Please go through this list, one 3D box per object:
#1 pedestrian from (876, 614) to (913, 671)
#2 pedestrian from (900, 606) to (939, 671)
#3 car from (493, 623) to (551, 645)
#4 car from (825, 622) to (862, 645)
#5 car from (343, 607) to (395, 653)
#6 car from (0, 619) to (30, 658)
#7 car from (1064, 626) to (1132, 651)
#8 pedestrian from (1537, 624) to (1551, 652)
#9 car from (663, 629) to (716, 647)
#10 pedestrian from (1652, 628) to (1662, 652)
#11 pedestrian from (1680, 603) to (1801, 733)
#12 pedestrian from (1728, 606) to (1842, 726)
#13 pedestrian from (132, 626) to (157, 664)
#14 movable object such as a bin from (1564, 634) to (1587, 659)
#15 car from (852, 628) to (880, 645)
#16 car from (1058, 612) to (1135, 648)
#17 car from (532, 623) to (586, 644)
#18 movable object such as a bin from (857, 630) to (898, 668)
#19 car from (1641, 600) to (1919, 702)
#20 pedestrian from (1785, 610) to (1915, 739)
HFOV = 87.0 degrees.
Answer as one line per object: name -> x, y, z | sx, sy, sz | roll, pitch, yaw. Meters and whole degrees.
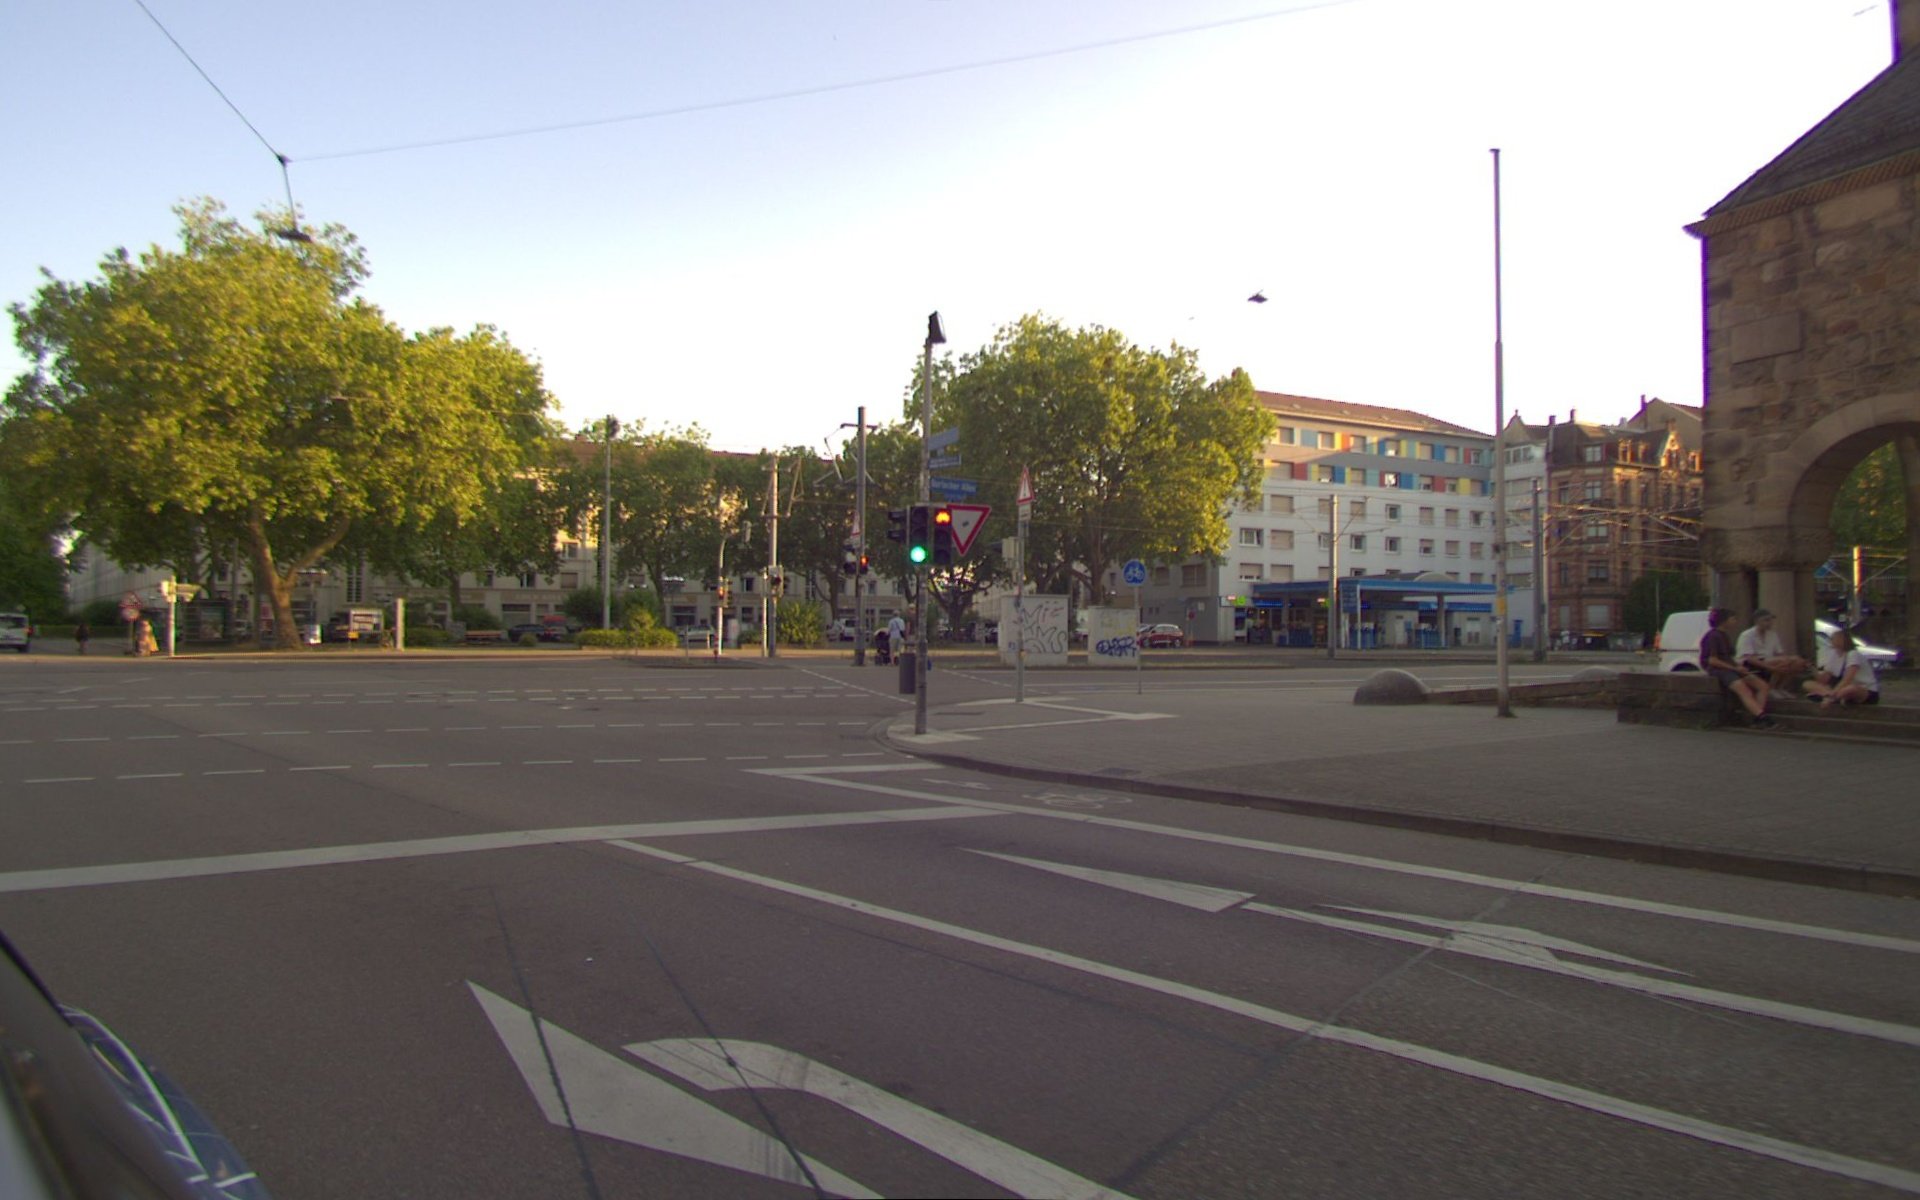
pedestrian -> -1.924, 1.241, 29.602 | 0.708, 1.646, 1.010 | 1, -2, -28
pedestrian -> -1.200, 1.136, 29.942 | 0.699, 1.861, 1.163 | 1, -2, -28
car -> -34.552, 2.660, 79.941 | 3.932, 1.719, 2.006 | 1, -2, -15
car -> -9.785, 2.827, 84.582 | 1.965, 1.851, 4.331 | 1, -2, -22
car -> -27.438, 1.395, 46.936 | 1.837, 2.029, 3.820 | 2, -2, -34
car -> -49.654, 1.967, 52.384 | 4.597, 1.971, 1.964 | -2, -3, 44
car -> 9.076, 2.511, 66.555 | 3.930, 1.625, 2.006 | 1, -2, -21
pedestrian -> 42.573, 2.783, 73.776 | 0.598, 2.029, 0.560 | 1, -2, -23
car -> -22.460, 3.163, 84.108 | 3.931, 1.429, 1.815 | 1, -2, -30
pedestrian -> 53.441, 3.073, 77.573 | 0.545, 1.840, 0.453 | 2, -3, -41
pedestrian -> 9.162, 0.779, 11.905 | 0.619, 1.465, 0.918 | 1, -2, -22
pedestrian -> 9.869, 0.771, 12.124 | 0.790, 1.385, 0.701 | 1, -2, -15
pedestrian -> -35.561, 1.939, 44.119 | 0.734, 1.641, 0.662 | 1, -2, -32
movable object such as a bin -> 50.350, 3.787, 82.769 | 1.491, 2.029, 1.342 | -1, -2, 37
car -> -8.966, 3.459, 96.620 | 1.733, 1.583, 3.598 | 1, -2, -21
car -> 10.191, 2.237, 75.723 | 5.482, 2.638, 2.006 | 1, -2, -25
car -> -33.225, 2.757, 83.962 | 3.932, 1.719, 2.006 | 1, -2, -15
movable object such as a bin -> -2.491, 1.478, 30.611 | 0.847, 1.128, 1.141 | 1, -2, -28
car -> 16.464, 0.976, 20.377 | 1.557, 1.822, 4.420 | 1, -2, -22
pedestrian -> 9.916, 0.818, 11.299 | 0.793, 1.385, 0.699 | 0, -2, 3
